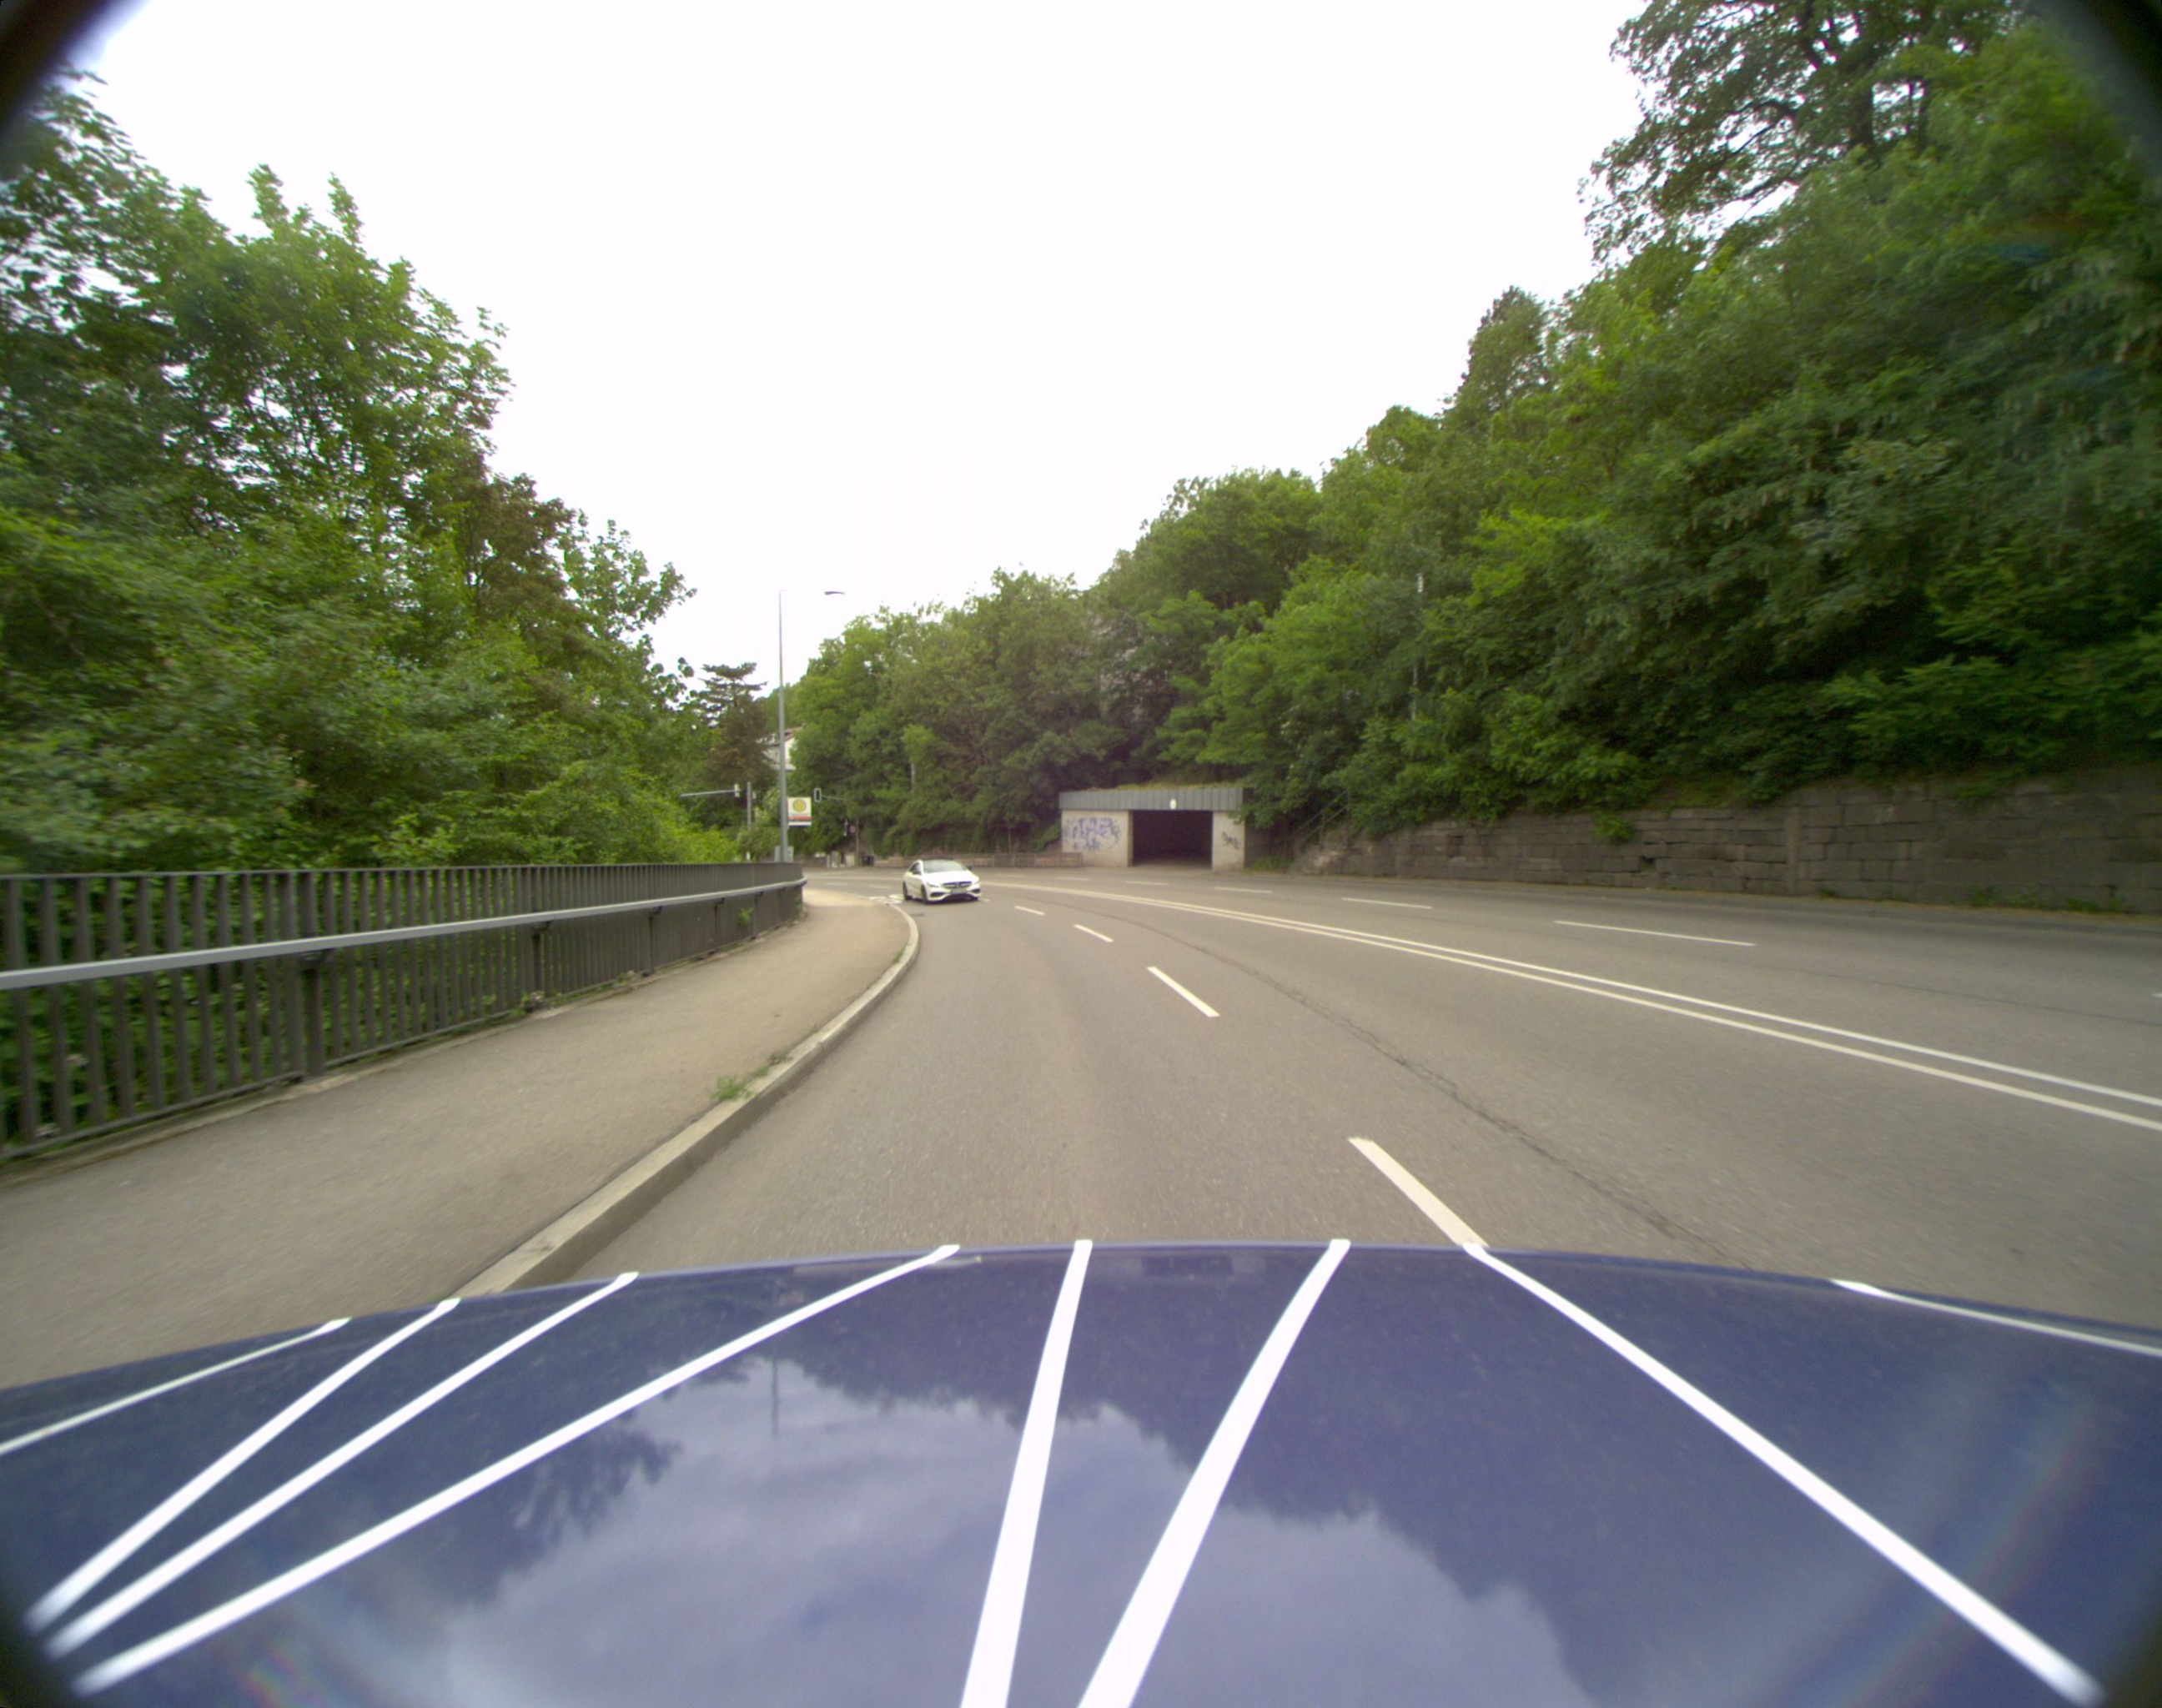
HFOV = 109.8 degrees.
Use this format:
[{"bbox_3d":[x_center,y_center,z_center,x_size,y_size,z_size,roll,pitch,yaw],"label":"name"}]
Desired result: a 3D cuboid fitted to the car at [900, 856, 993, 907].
[{"bbox_3d":[-4.644,0.868,25.731,1.906,1.419,4.256,-5,2,-26],"label":"car"}]
